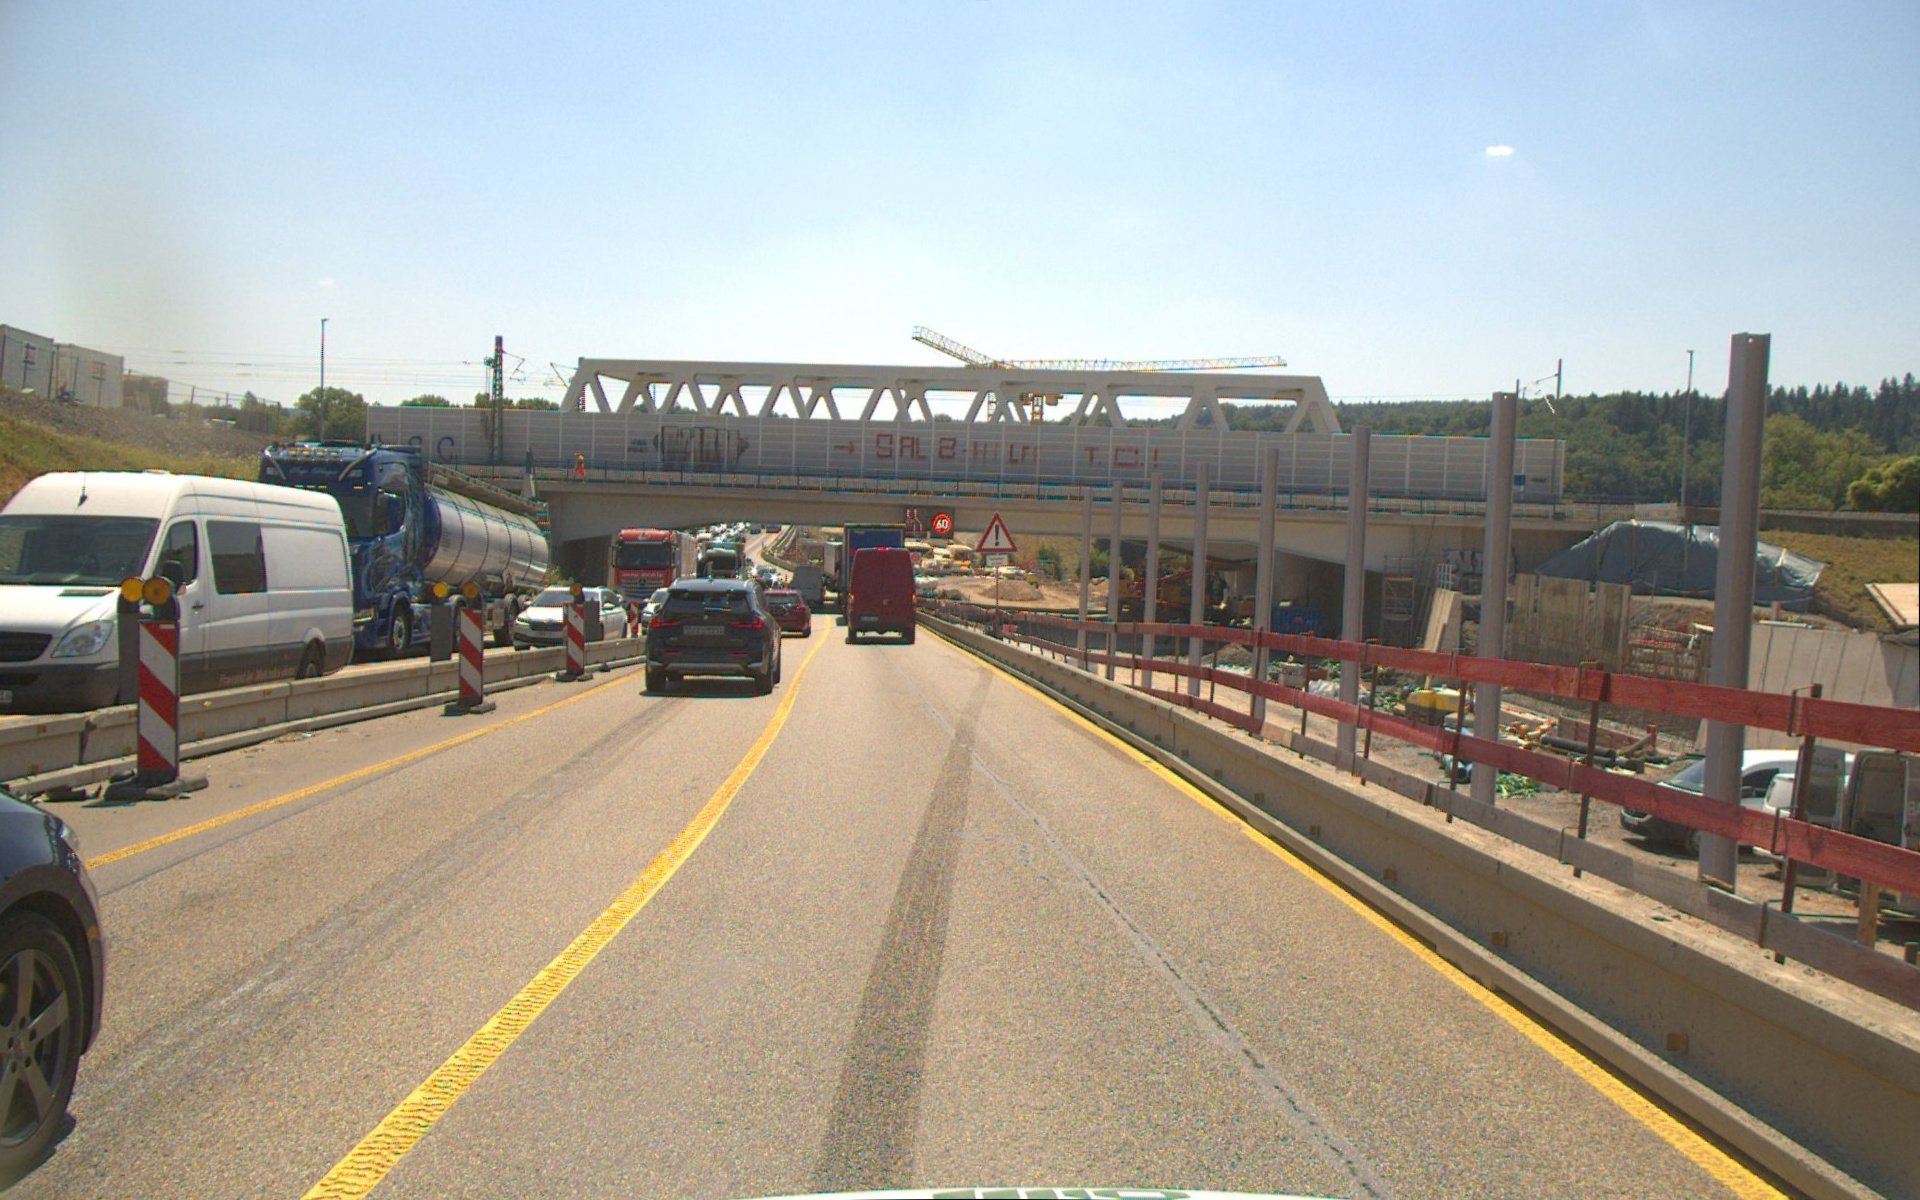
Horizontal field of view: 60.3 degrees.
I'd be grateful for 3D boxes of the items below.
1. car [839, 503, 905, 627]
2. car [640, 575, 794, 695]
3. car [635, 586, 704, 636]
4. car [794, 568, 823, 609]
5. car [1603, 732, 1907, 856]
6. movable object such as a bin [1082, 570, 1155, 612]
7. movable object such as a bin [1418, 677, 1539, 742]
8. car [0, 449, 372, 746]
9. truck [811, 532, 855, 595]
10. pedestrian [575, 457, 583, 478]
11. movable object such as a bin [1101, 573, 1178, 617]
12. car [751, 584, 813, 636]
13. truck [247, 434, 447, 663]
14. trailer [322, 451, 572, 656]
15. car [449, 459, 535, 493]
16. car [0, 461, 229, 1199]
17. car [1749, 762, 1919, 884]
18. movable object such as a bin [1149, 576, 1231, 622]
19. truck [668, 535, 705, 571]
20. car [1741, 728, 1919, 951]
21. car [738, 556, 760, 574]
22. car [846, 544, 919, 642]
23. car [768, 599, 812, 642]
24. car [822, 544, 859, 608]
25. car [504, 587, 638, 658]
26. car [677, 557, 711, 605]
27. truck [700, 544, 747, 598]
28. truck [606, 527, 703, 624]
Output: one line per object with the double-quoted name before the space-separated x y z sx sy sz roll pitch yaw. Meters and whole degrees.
"car" -4.002 -1.521 73.639 2.570 5.120 10.386 0 1 -5
"car" -3.574 0.453 25.042 1.842 1.646 4.497 0 1 -3
"car" -9.106 0.313 52.092 1.798 1.471 4.151 1 1 -6
"car" -9.400 -0.714 102.797 1.741 2.483 4.202 0 1 -5
"car" 14.663 3.569 30.676 4.634 1.804 1.999 3 2 -4
"movable object such as a bin" 11.313 -0.632 118.369 5.040 2.856 2.143 1 0 1
"movable object such as a bin" 14.933 3.127 47.620 3.040 1.590 1.550 2 1 31
"car" -8.751 -0.083 18.357 1.953 2.652 7.010 1 1 0
"truck" -11.787 -3.329 152.520 2.783 5.492 12.882 1 1 -10
"pedestrian" -21.878 -7.617 95.076 0.329 1.232 0.308 1 0 9
"movable object such as a bin" 12.376 -0.345 114.130 5.040 2.856 2.143 1 0 1
"car" -5.578 0.275 52.134 1.741 1.543 4.203 0 1 -4
"truck" -11.670 -0.961 31.825 2.309 4.085 4.000 1 1 0
"trailer" -11.670 -1.013 38.996 2.299 4.085 11.449 1 1 0
"car" -27.506 -7.281 97.258 4.456 1.814 1.962 1 1 8
"car" -3.013 0.581 2.592 1.740 1.748 4.652 1 2 -1
"car" 15.418 3.714 27.576 3.690 1.697 1.764 2 2 -9
"movable object such as a bin" 14.865 -0.076 107.108 5.040 2.856 2.143 1 0 1
"truck" -30.755 -5.205 185.549 2.788 3.919 12.860 1 1 -15
"car" 14.705 3.366 23.756 5.986 2.629 2.521 2 2 -15
"car" -24.715 -4.142 193.792 1.960 2.049 3.984 1 1 -15
"car" -2.324 -0.224 48.722 1.950 2.737 4.619 0 1 -5
"car" -7.218 0.852 70.416 1.804 1.683 4.160 0 1 -6
"car" -8.210 -1.632 113.160 2.402 4.233 6.853 0 1 -5
"car" -8.479 0.453 36.445 1.780 1.408 4.584 1 1 1
"car" -15.667 -1.145 97.601 1.549 2.700 5.385 1 1 -5
"truck" -18.166 -2.196 127.612 2.779 3.919 12.900 1 1 -5
"truck" -13.515 -1.098 74.204 2.779 3.919 12.902 1 1 -4
